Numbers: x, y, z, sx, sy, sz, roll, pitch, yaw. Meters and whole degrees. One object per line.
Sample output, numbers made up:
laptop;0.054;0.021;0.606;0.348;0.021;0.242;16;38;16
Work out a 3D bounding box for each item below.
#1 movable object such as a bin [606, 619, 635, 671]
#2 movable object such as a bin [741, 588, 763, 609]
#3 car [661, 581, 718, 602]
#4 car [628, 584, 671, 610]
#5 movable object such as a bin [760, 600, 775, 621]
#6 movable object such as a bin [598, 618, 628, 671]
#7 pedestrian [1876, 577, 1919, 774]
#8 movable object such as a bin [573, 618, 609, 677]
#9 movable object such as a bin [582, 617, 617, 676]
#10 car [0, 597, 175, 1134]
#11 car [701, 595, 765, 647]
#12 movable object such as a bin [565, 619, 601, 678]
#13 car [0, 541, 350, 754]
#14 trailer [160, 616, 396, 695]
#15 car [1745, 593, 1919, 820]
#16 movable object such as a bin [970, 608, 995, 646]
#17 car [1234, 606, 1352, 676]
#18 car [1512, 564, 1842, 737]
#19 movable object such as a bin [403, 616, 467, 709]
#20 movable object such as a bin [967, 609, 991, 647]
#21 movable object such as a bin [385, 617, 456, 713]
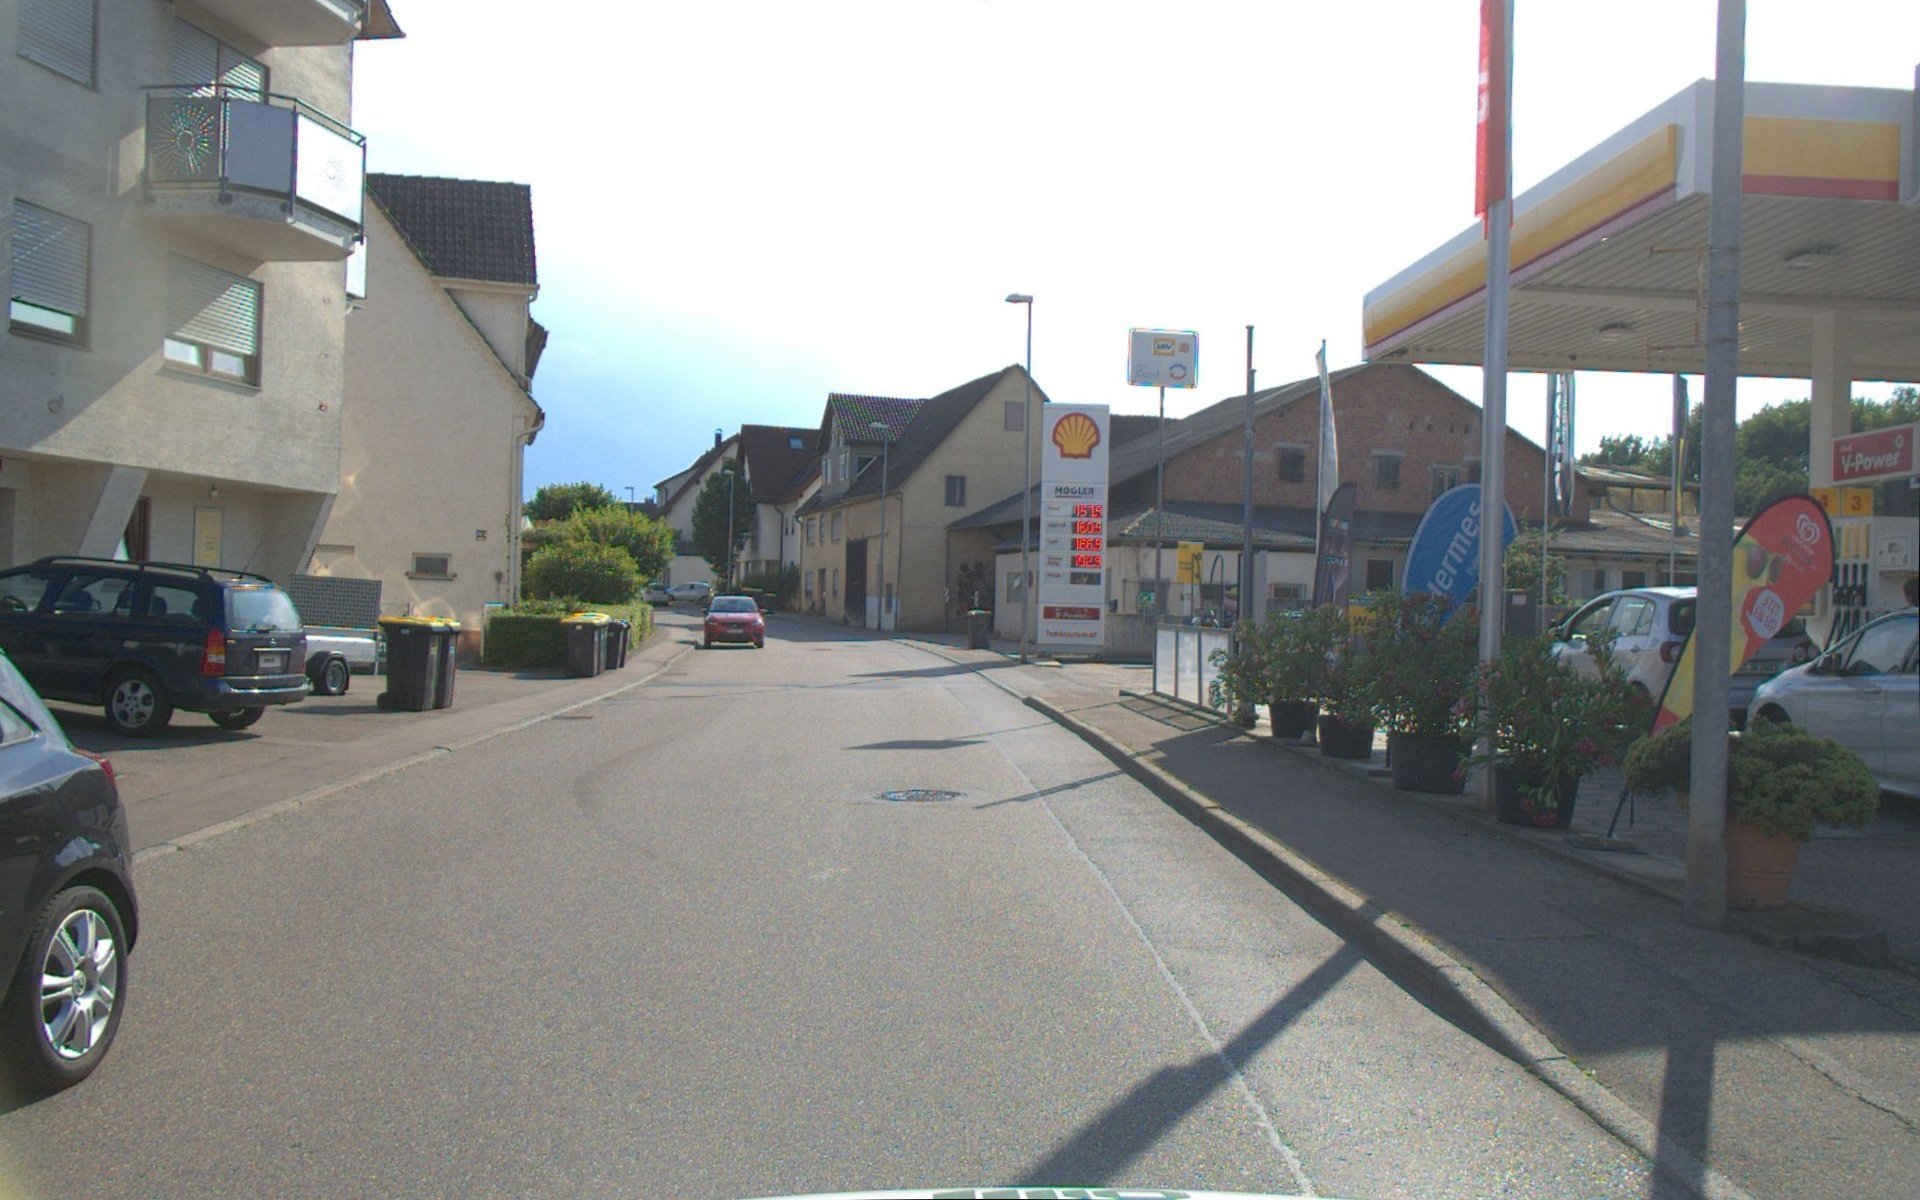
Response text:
movable object such as a bin;-6.878;0.902;33.510;0.521;1.040;0.457;0;0;-3
movable object such as a bin;-12.177;-0.092;96.846;1.141;1.189;0.652;1;0;-15
car;-19.150;-0.595;117.122;3.916;1.376;1.706;1;0;-11
car;-20.162;-0.208;107.261;1.684;1.606;3.966;2;0;-26
movable object such as a bin;-10.139;0.565;87.180;0.643;1.092;0.510;1;0;-18
movable object such as a bin;-6.926;0.892;33.020;0.521;1.040;0.457;0;0;-3
pedestrian;8.445;0.658;14.508;0.490;1.699;0.534;1;-1;-2
movable object such as a bin;-7.096;0.909;31.817;0.576;1.103;0.529;0;0;-3
movable object such as a bin;-7.073;0.901;32.449;0.576;1.141;0.617;0;0;-3
car;-3.433;0.715;3.610;1.639;1.477;3.833;1;0;-1
car;-6.672;0.612;48.407;1.678;1.460;3.770;0;0;-11
movable object such as a bin;-7.103;0.912;31.180;0.576;1.103;0.507;0;0;-3
car;-8.083;0.369;15.594;3.904;1.564;1.764;6;0;9
trailer;-8.743;0.744;21.425;1.302;0.870;2.893;3;-2;15
car;7.613;0.765;12.172;1.638;1.605;3.997;1;0;-2
movable object such as a bin;0.660;0.802;48.527;0.640;1.092;0.512;1;0;-5
car;7.624;0.904;38.225;1.547;1.452;4.378;2;0;-4
car;7.430;0.474;17.581;1.638;1.605;3.997;1;0;-2
movable object such as a bin;-6.482;0.765;20.447;0.558;1.089;0.557;4;-1;-3
movable object such as a bin;0.556;0.827;49.077;0.640;1.092;0.512;1;0;-5
movable object such as a bin;-6.472;0.774;19.874;0.588;1.089;0.618;4;-1;-3
